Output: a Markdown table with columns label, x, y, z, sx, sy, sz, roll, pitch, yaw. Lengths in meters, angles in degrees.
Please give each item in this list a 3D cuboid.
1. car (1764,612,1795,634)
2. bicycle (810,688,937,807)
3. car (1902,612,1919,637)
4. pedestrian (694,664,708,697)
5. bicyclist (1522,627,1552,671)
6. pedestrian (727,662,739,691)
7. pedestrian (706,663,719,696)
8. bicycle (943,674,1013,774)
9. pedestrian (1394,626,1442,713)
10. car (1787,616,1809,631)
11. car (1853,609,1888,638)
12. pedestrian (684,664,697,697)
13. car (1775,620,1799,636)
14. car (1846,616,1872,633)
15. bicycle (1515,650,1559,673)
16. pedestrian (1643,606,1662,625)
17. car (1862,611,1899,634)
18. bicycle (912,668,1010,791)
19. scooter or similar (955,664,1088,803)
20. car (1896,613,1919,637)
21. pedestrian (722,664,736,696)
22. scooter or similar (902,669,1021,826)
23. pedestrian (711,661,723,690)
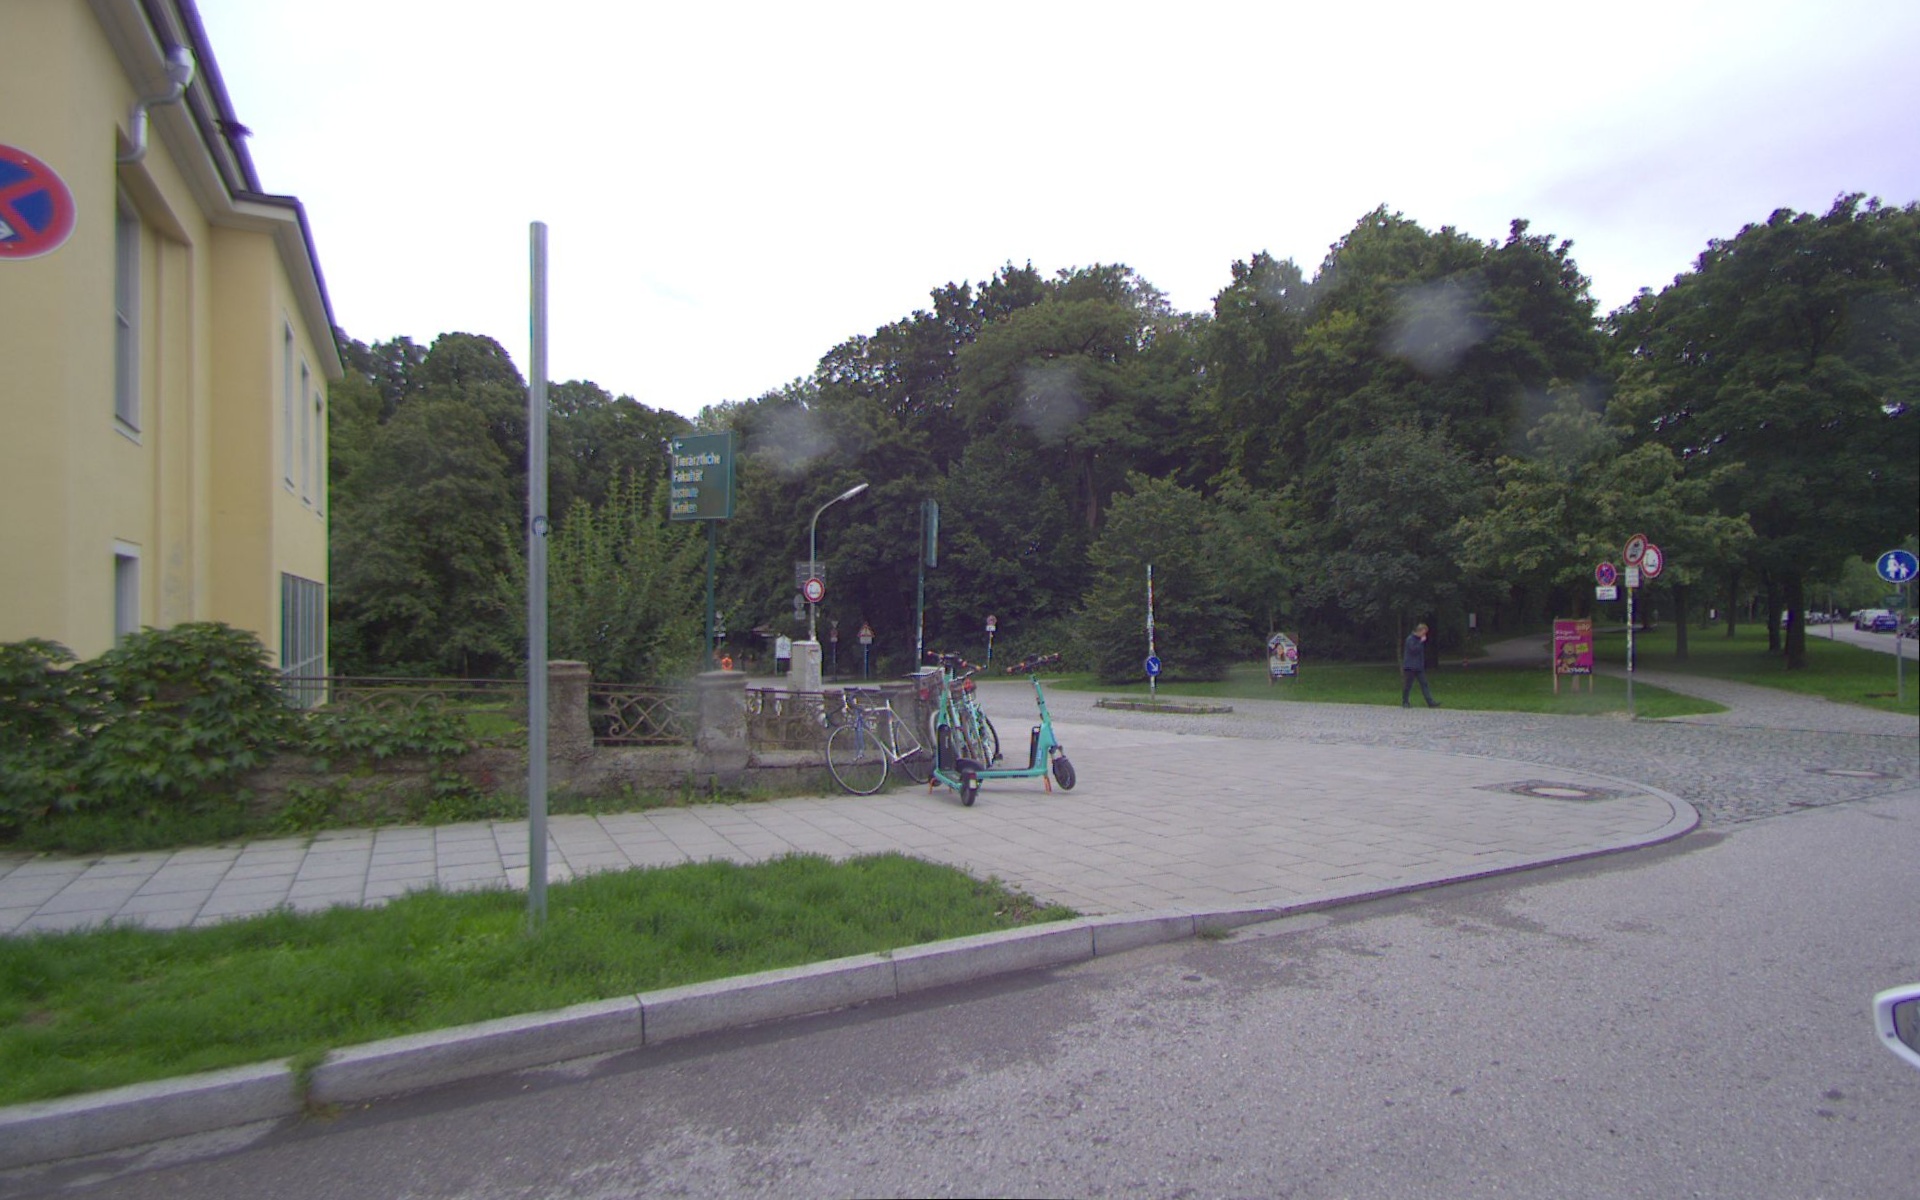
| label | x | y | z | sx | sy | sz | roll | pitch | yaw |
| --- | --- | --- | --- | --- | --- | --- | --- | --- | --- |
| car | 72.354 | 2.070 | 88.698 | 1.969 | 1.862 | 3.984 | -2 | -2 | 37 |
| bicycle | -0.765 | 1.303 | 9.128 | 0.464 | 0.935 | 1.200 | -1 | -2 | 37 |
| car | 65.311 | 1.640 | 67.650 | 2.149 | 1.679 | 4.489 | -2 | -2 | 37 |
| pedestrian | -14.308 | 4.419 | 55.470 | 0.591 | 1.768 | 0.808 | 0 | -1 | -24 |
| bicyclist | 19.951 | 1.689 | 34.757 | 0.618 | 1.479 | 0.644 | 0 | -1 | -10 |
| pedestrian | -13.978 | 4.700 | 61.857 | 0.591 | 1.768 | 0.808 | 0 | -1 | -24 |
| pedestrian | -13.752 | 4.396 | 55.748 | 0.591 | 1.768 | 0.808 | 0 | -1 | -24 |
| bicycle | 0.197 | 1.513 | 12.518 | 0.642 | 1.148 | 1.737 | 0 | -5 | -7 |
| pedestrian | 9.605 | 1.444 | 21.071 | 0.721 | 1.775 | 0.656 | -2 | -2 | 42 |
| car | 102.914 | 2.924 | 123.387 | 1.970 | 1.862 | 3.981 | -2 | -2 | 40 |
| car | 83.155 | 2.166 | 91.738 | 1.852 | 2.602 | 4.913 | -2 | -2 | 37 |
| pedestrian | -14.845 | 4.402 | 55.314 | 0.591 | 1.768 | 0.808 | 0 | -1 | -24 |
| car | 93.996 | 3.182 | 114.221 | 1.969 | 1.862 | 3.984 | -2 | -2 | 37 |
| car | 90.189 | 2.420 | 100.829 | 1.624 | 1.674 | 4.267 | -1 | -2 | 38 |
| bicycle | 19.950 | 2.122 | 34.716 | 1.336 | 0.786 | 0.439 | 0 | -1 | -9 |
| pedestrian | 73.563 | 1.664 | 106.741 | 1.302 | 1.971 | 1.034 | -1 | -2 | -4 |
| car | 77.279 | 1.885 | 84.391 | 1.852 | 1.839 | 3.985 | -2 | -2 | 37 |
| bicycle | 0.041 | 1.340 | 10.786 | 0.641 | 1.149 | 1.502 | -1 | -1 | 17 |
| scooter or similar | 0.573 | 1.212 | 9.244 | 1.158 | 1.235 | 0.447 | -1 | -3 | 10 |
| car | 69.114 | 1.812 | 72.188 | 2.149 | 1.679 | 4.489 | -2 | -2 | 37 |
| pedestrian | -12.870 | 4.452 | 55.978 | 0.591 | 1.768 | 0.808 | 0 | -1 | -24 |
| scooter or similar | -0.014 | 1.226 | 8.687 | 0.594 | 1.235 | 1.175 | 1 | -4 | -24 |
| pedestrian | -14.858 | 4.615 | 61.399 | 0.591 | 1.768 | 0.808 | 0 | -1 | -24 |
